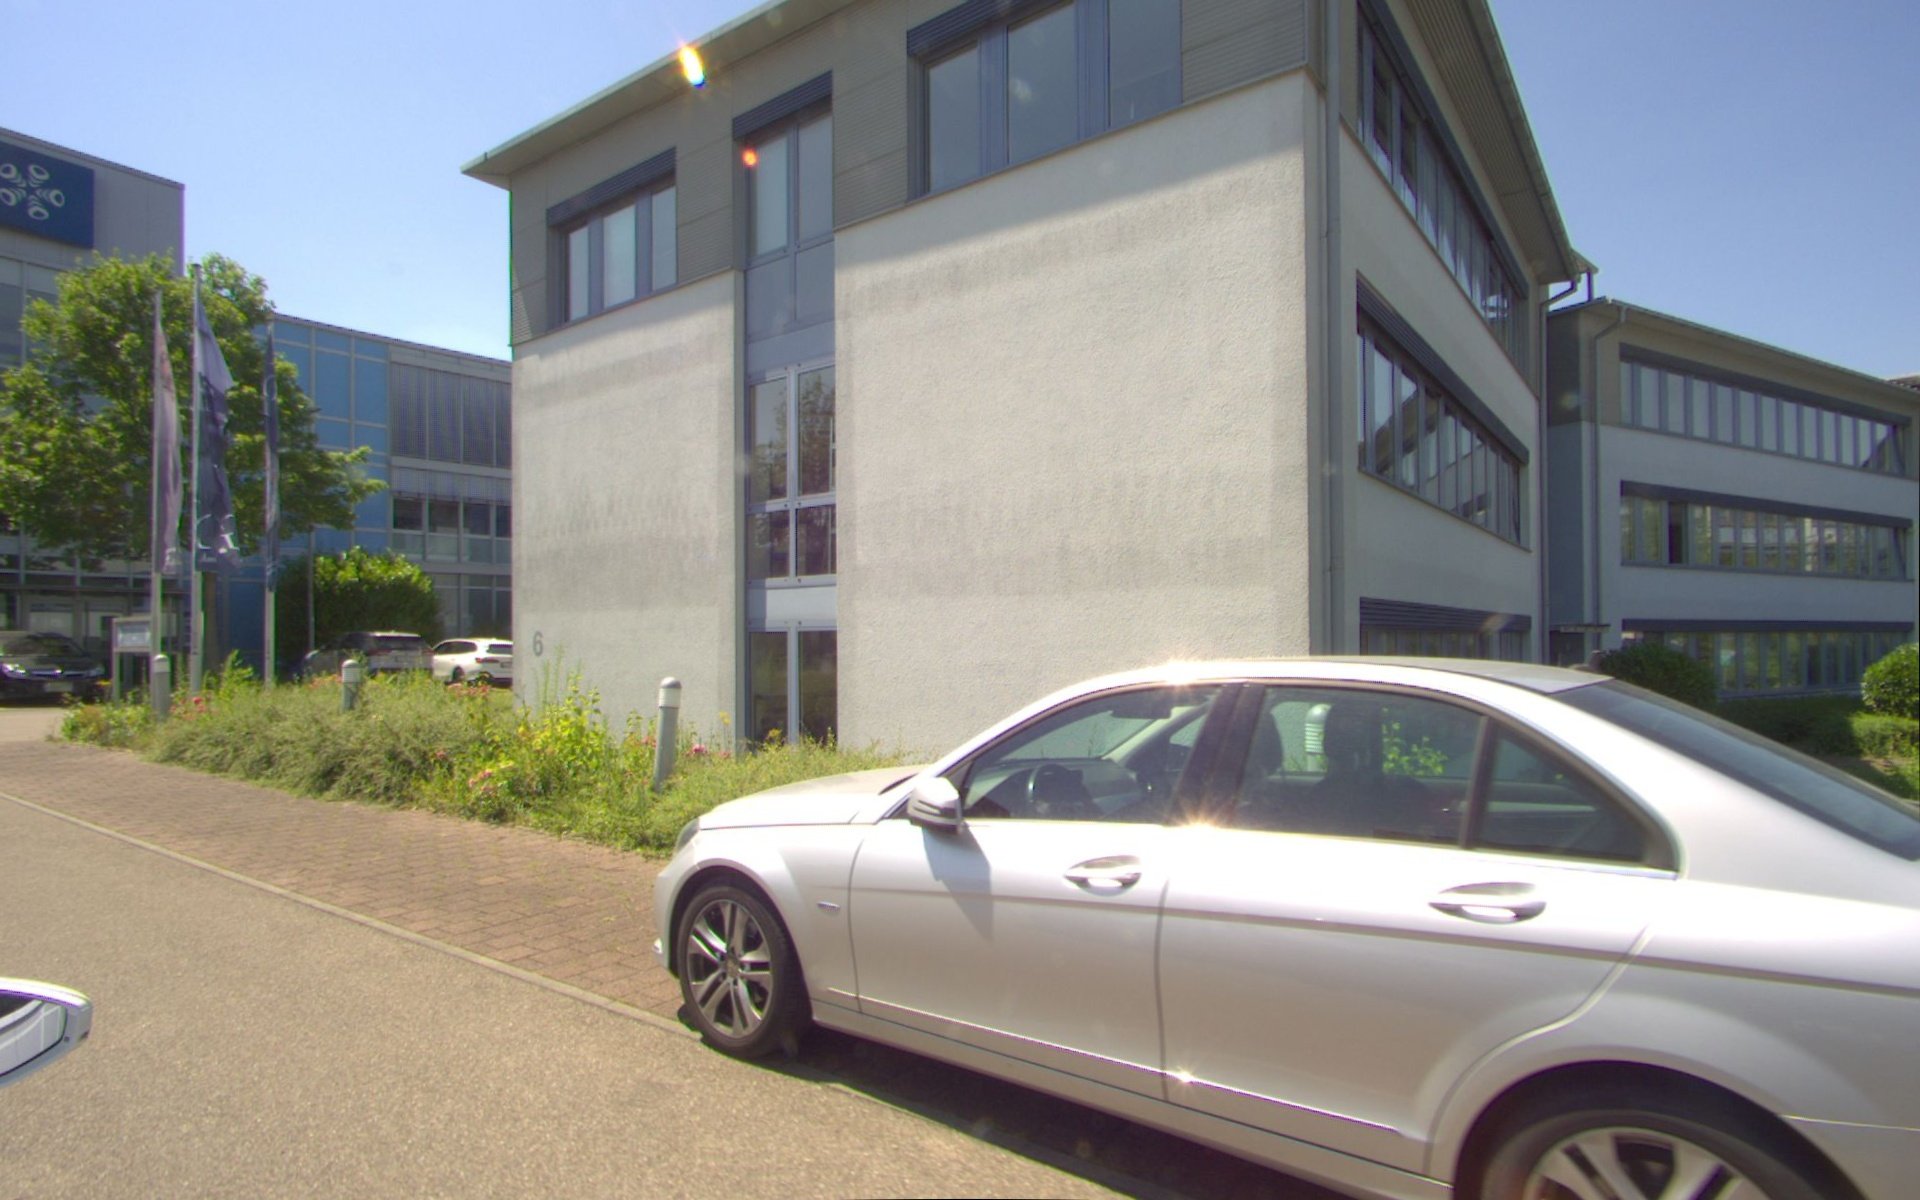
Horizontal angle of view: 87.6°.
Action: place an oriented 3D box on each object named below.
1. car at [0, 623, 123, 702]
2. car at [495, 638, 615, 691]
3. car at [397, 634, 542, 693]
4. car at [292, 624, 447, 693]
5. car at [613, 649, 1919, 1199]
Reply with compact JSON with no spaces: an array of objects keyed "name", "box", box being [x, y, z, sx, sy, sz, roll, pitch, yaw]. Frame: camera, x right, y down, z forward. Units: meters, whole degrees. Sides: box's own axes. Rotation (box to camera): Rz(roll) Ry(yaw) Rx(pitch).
[{"name":"car","box":[-19.616,1.256,21.176,4.198,1.501,1.767,0,-2,33]},{"name":"car","box":[-12.544,1.974,30.905,4.291,1.447,1.728,-1,-4,42]},{"name":"car","box":[-14.097,1.792,28.711,4.278,1.510,1.734,0,-3,33]},{"name":"car","box":[-15.837,1.522,26.799,4.278,1.640,1.816,0,-2,33]},{"name":"car","box":[0.936,0.885,3.234,4.364,1.415,1.794,-2,-3,38]}]
